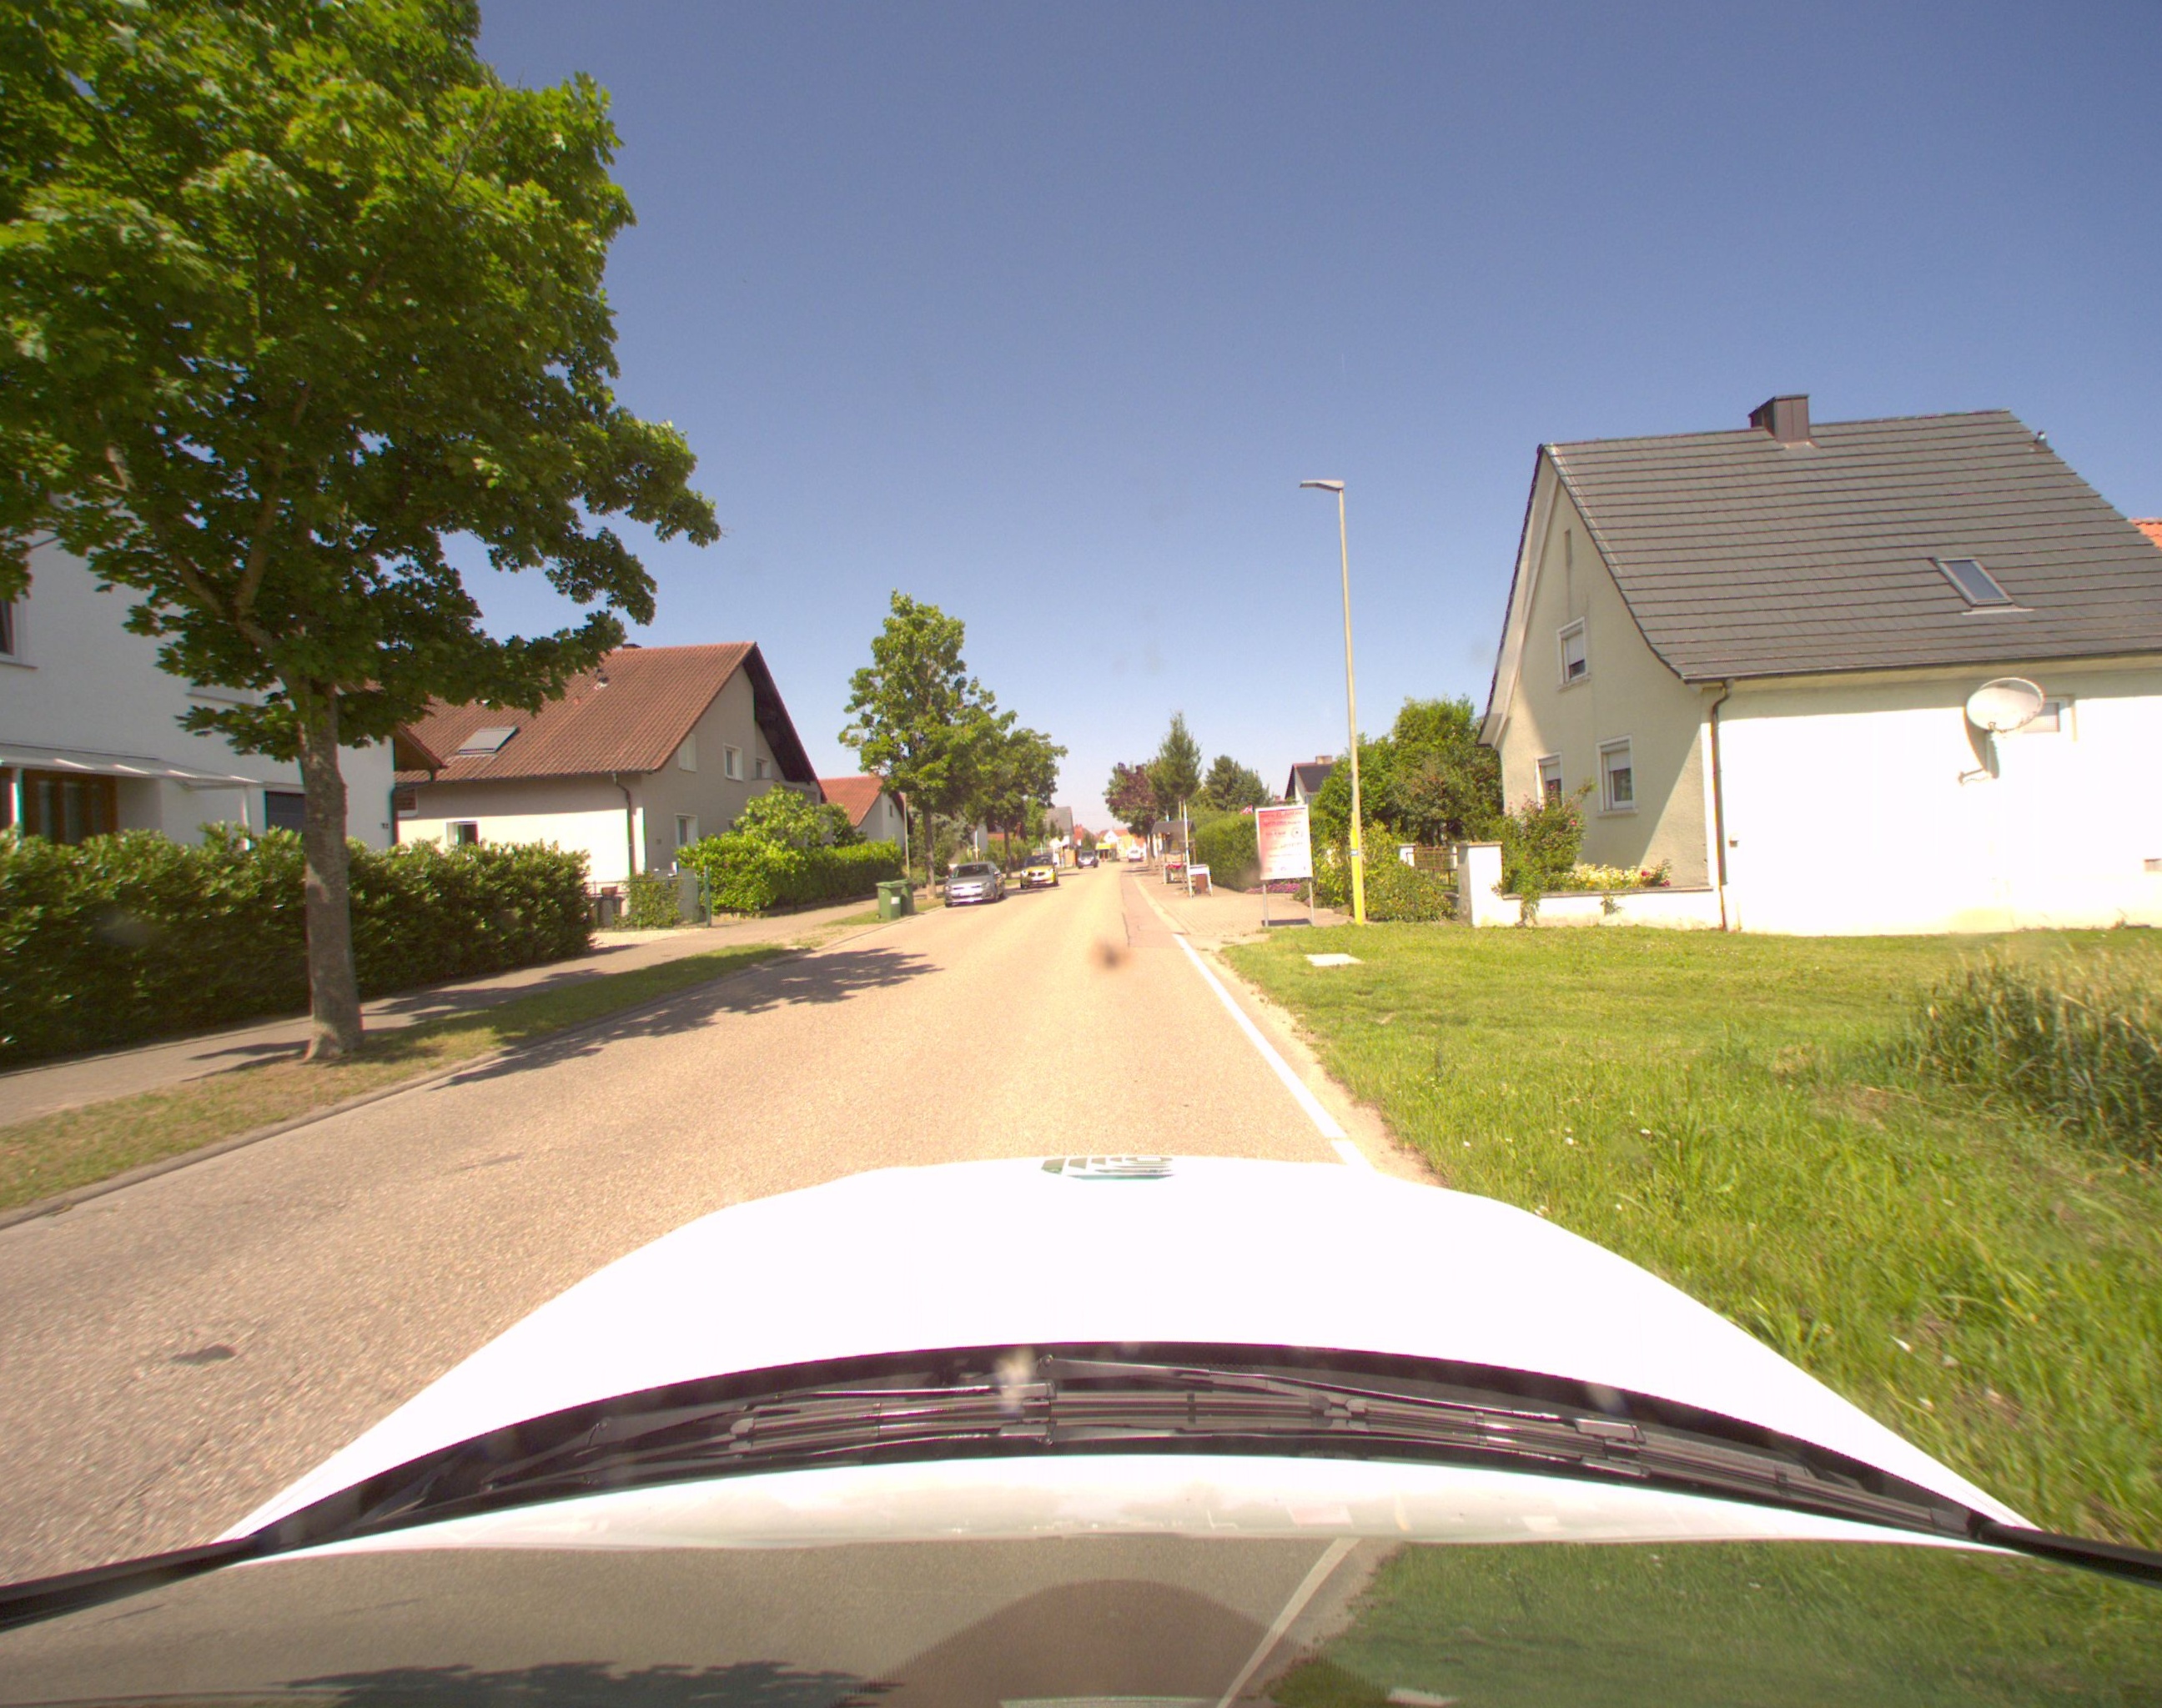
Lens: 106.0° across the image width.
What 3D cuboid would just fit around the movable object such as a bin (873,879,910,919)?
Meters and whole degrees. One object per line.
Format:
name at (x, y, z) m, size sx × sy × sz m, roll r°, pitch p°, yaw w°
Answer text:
movable object such as a bin at (-5.402, 1.272, 23.213) m, size 0.706 × 1.078 × 0.643 m, roll -3°, pitch 0°, yaw 27°

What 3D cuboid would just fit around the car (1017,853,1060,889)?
car at (-1.972, 0.788, 39.053) m, size 1.659 × 1.524 × 3.444 m, roll -4°, pitch 0°, yaw 2°

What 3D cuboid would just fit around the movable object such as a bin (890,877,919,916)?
movable object such as a bin at (-5.174, 1.236, 23.928) m, size 0.570 × 1.078 × 0.601 m, roll -3°, pitch 0°, yaw 15°

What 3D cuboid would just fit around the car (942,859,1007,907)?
car at (-3.668, 0.966, 28.740) m, size 1.642 × 1.423 × 4.080 m, roll -5°, pitch 0°, yaw 0°

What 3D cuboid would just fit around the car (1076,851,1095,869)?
car at (0.459, 0.574, 83.482) m, size 1.829 × 1.752 × 3.795 m, roll -3°, pitch 0°, yaw 0°

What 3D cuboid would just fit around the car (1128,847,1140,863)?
car at (8.690, 0.160, 133.395) m, size 1.729 × 2.432 × 4.382 m, roll -3°, pitch 0°, yaw 6°
